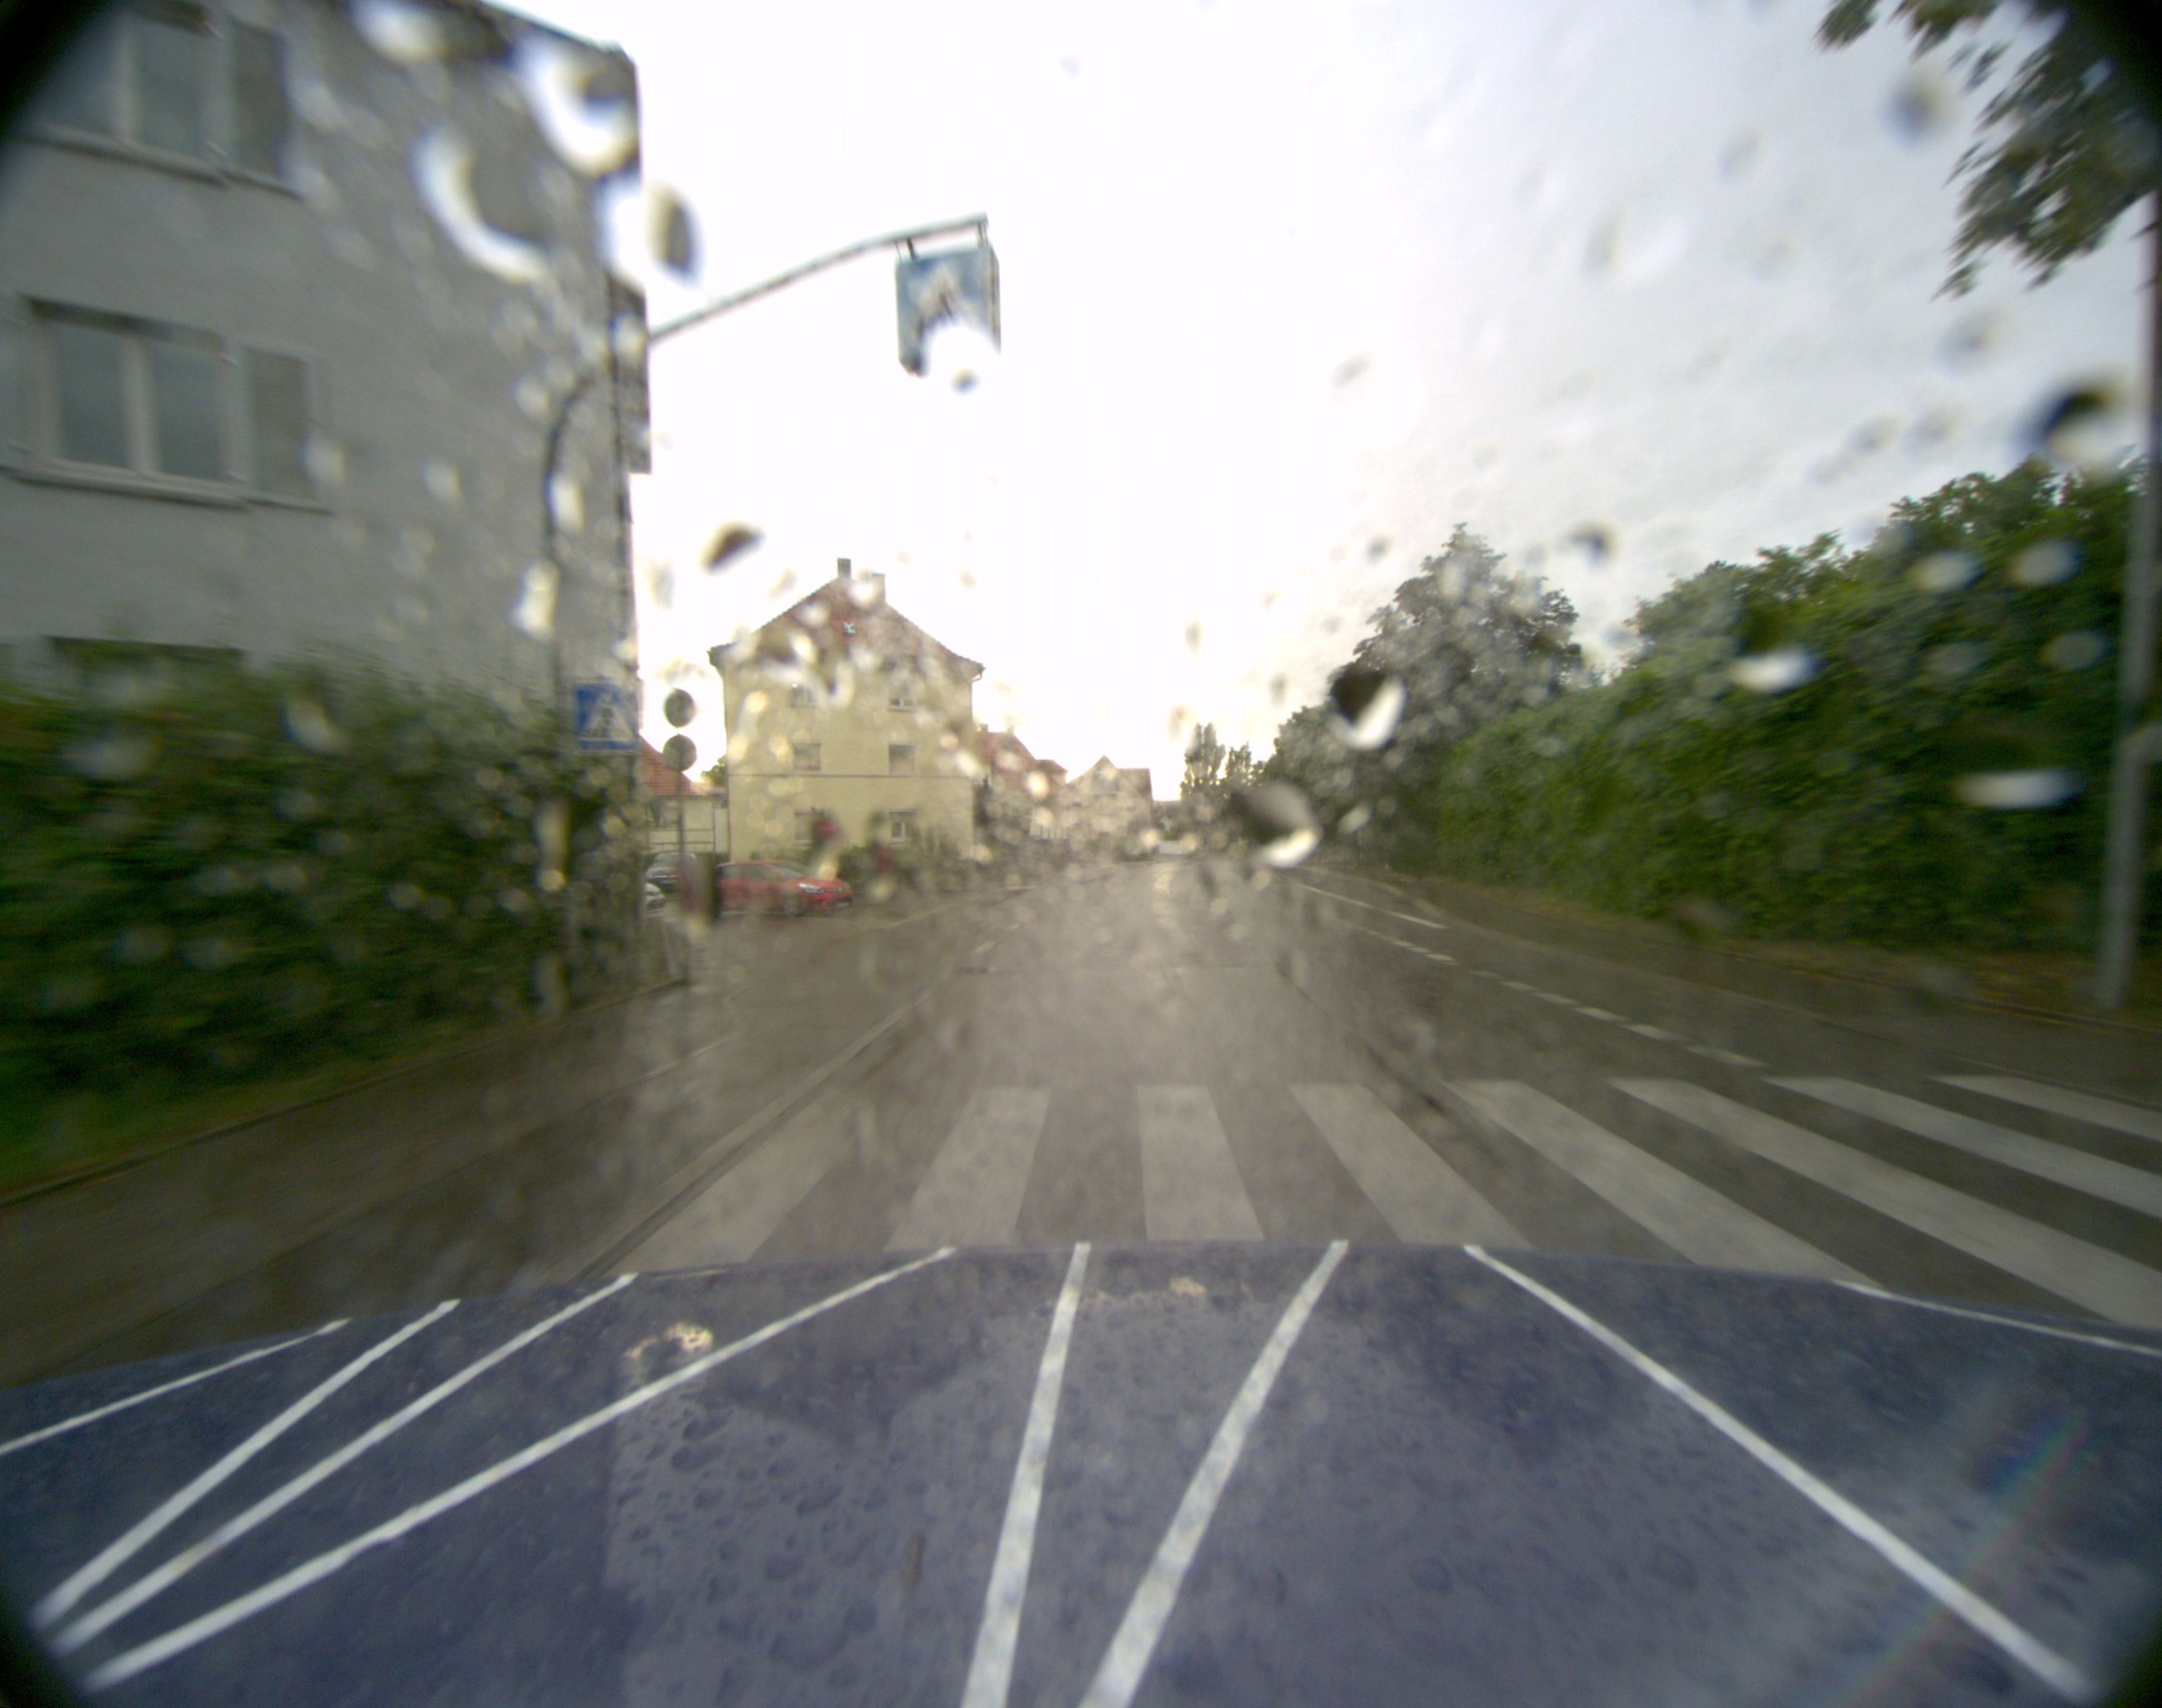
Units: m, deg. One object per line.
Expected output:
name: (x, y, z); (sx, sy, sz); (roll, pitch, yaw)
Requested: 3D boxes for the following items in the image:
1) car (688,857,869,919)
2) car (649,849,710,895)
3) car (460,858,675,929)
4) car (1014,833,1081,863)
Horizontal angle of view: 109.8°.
car: (-7.669, 0.854, 19.328); (4.085, 1.399, 1.727); (-2, 0, 19)
car: (-15.097, 0.609, 28.740); (1.726, 1.437, 3.962); (-2, 3, -24)
car: (-13.145, 0.964, 19.700); (4.239, 1.580, 1.723); (-2, 1, -7)
car: (-2.163, -0.411, 49.005); (3.939, 1.772, 1.767); (1, 3, -19)
